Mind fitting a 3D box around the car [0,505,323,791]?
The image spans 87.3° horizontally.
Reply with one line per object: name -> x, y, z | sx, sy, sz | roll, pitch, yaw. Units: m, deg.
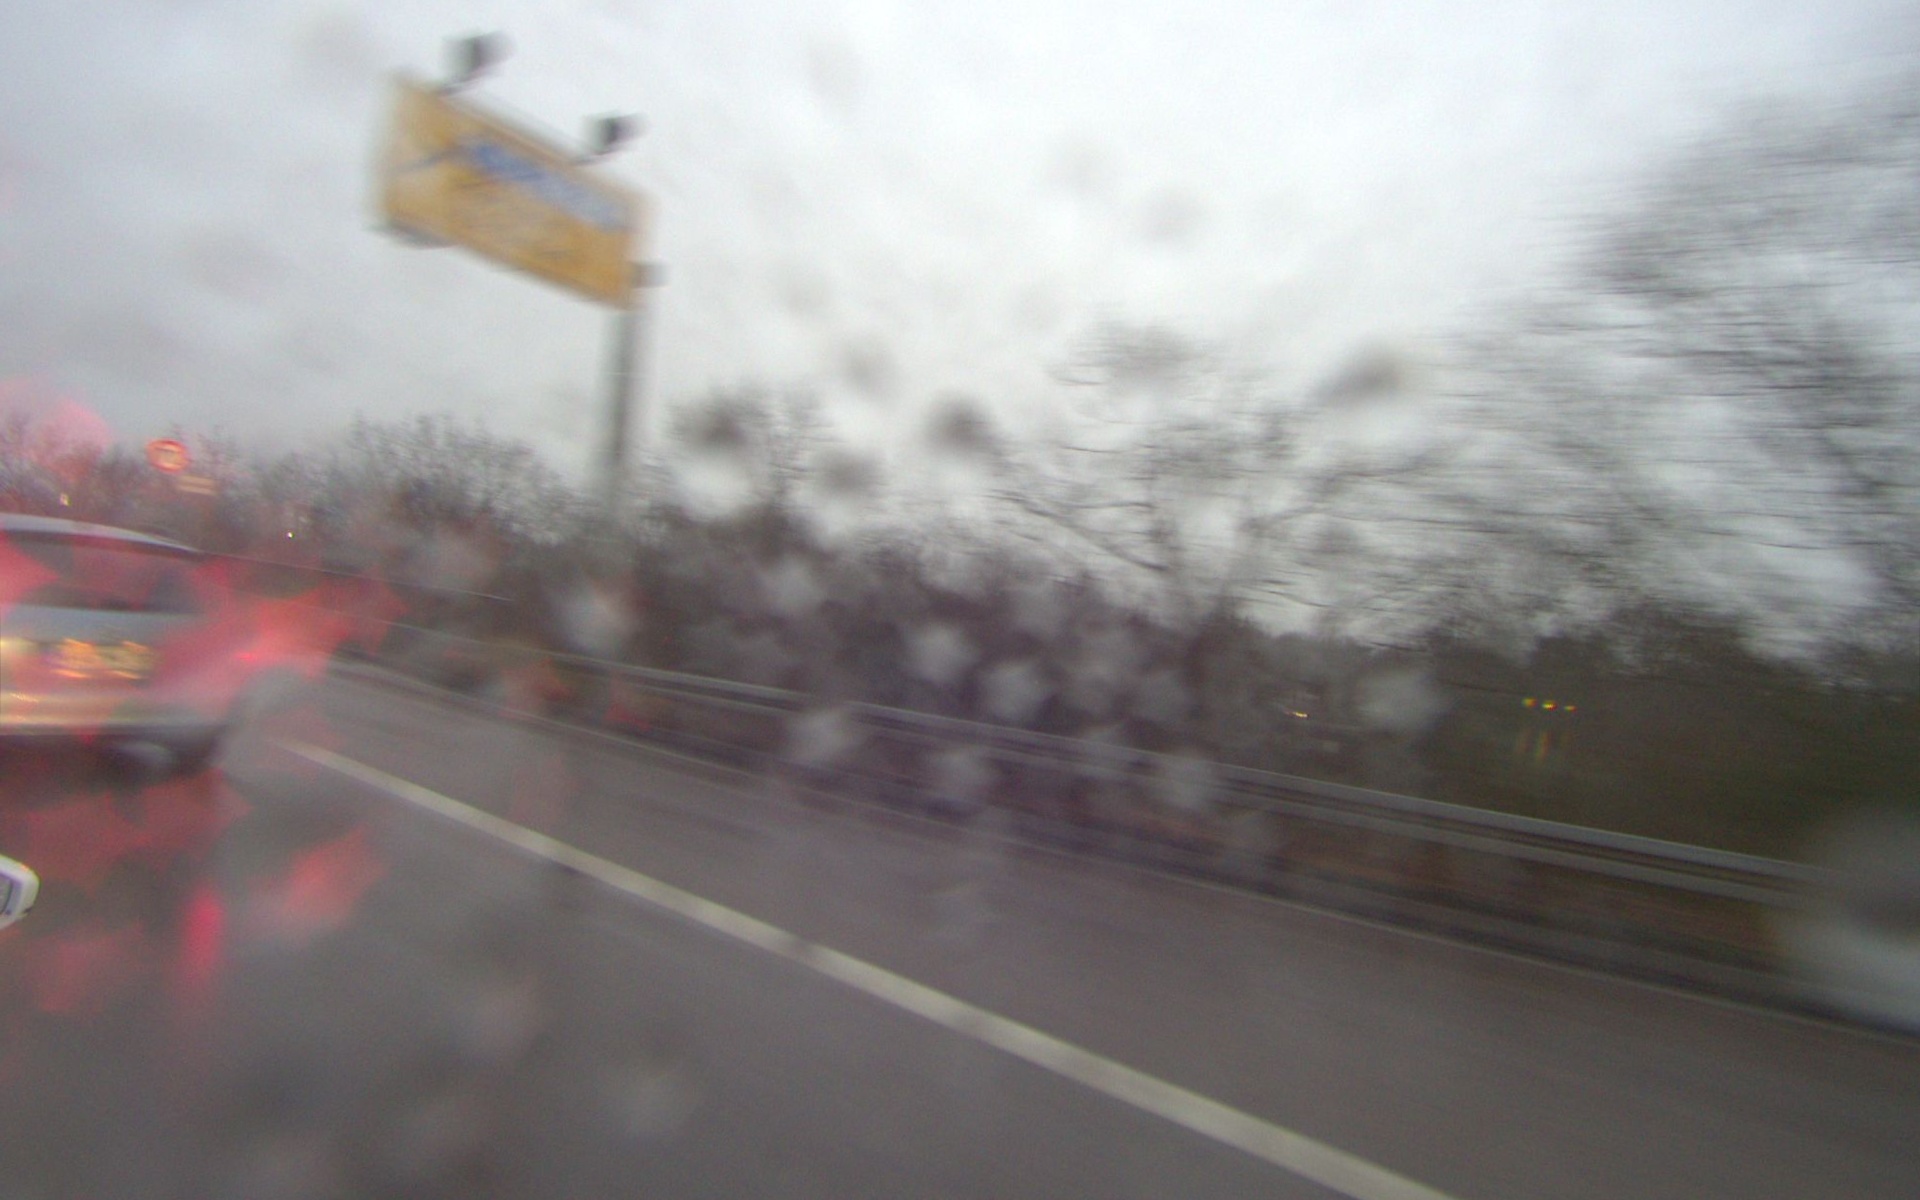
car -> -6.434, 0.139, 6.931 | 4.073, 1.519, 1.994 | 6, -1, 36
